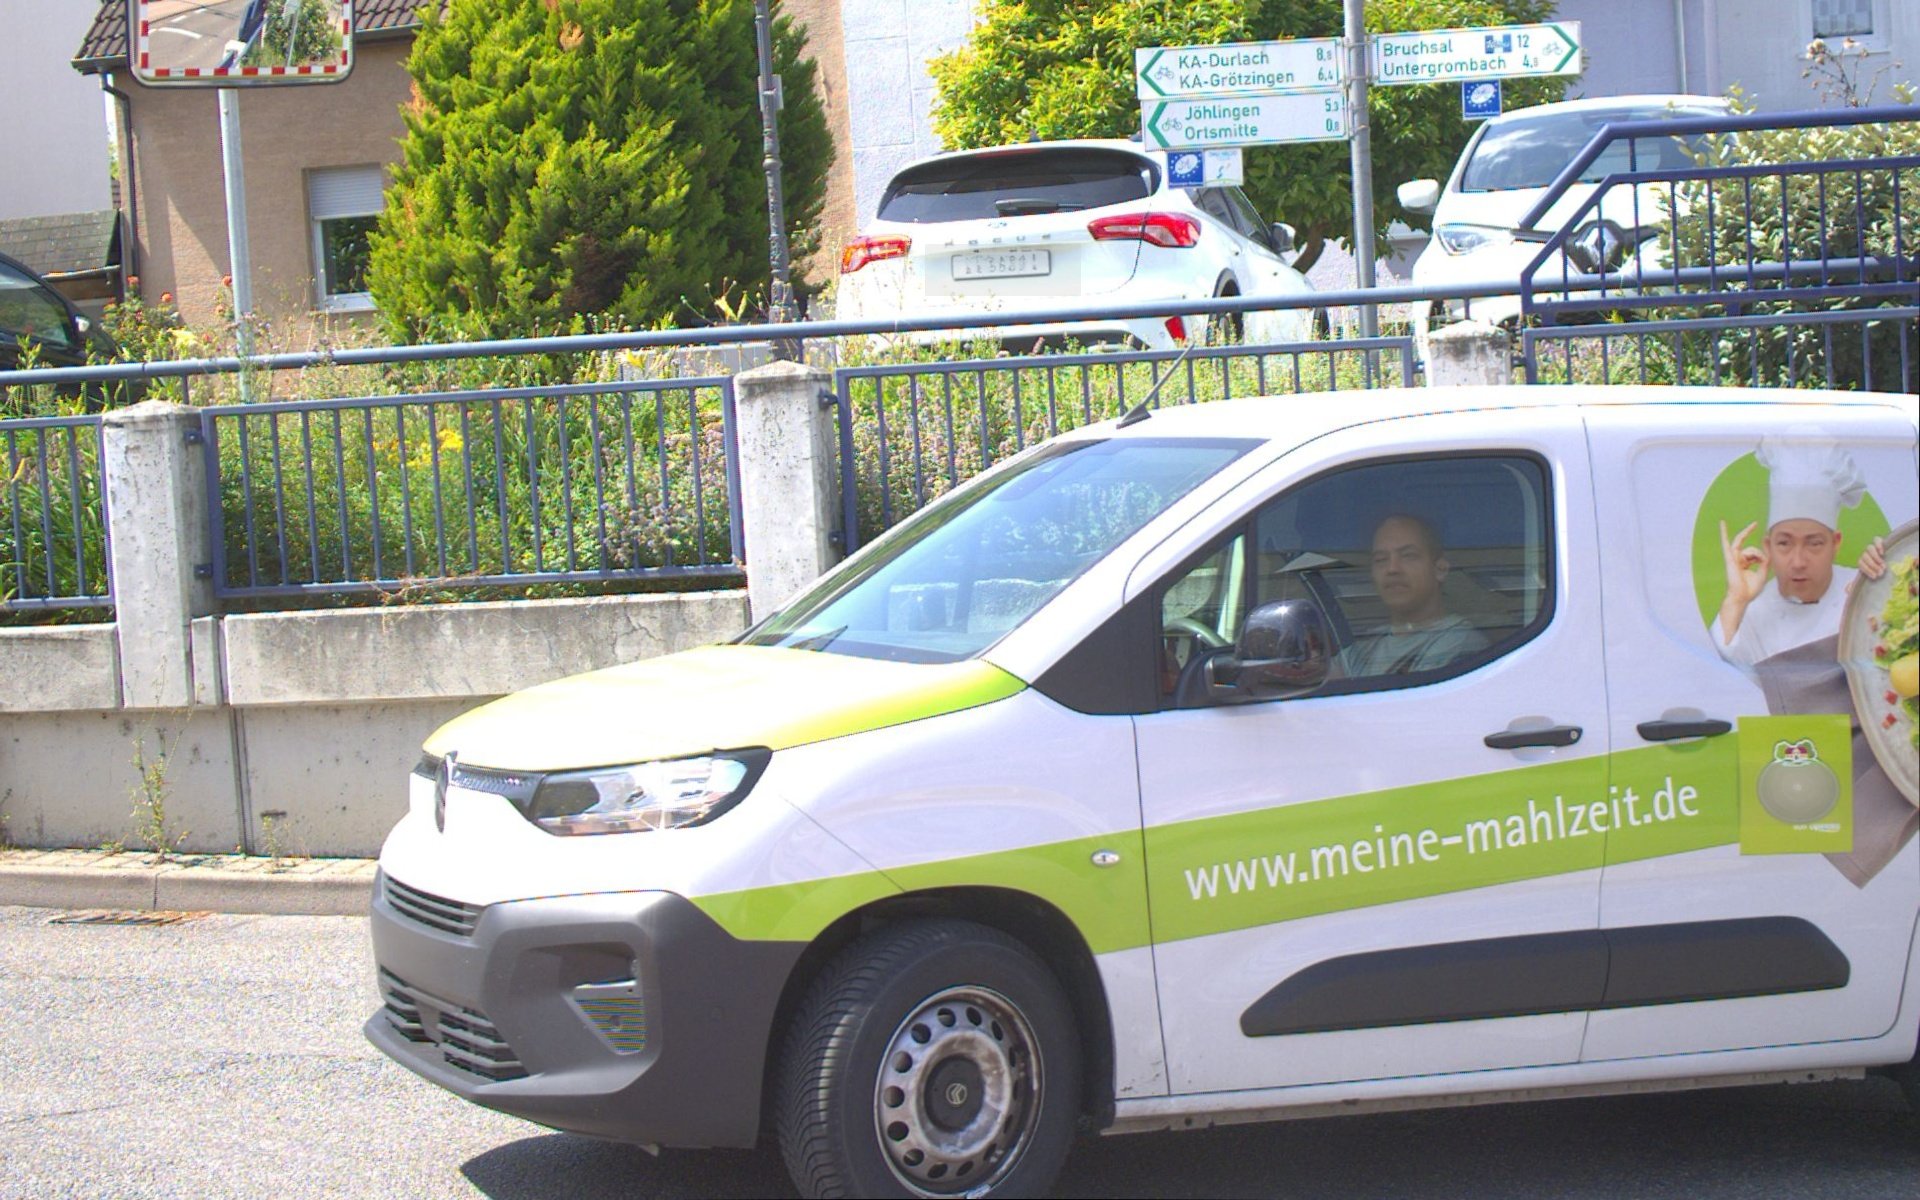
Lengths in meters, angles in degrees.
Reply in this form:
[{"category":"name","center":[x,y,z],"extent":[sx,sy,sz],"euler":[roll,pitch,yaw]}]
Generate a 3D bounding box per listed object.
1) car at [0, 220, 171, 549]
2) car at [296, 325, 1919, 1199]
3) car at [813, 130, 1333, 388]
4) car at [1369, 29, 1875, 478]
[{"category":"car","center":[-6.147,-1.196,18.961],"extent":[1.868,1.791,3.998],"euler":[1,2,14]},{"category":"car","center":[0.896,0.373,8.097],"extent":[4.543,1.848,1.818],"euler":[0,3,-22]},{"category":"car","center":[0.660,-1.602,16.777],"extent":[1.826,1.016,3.457],"euler":[1,2,14]},{"category":"car","center":[3.203,-1.490,16.097],"extent":[1.995,1.791,4.194],"euler":[1,2,14]}]
